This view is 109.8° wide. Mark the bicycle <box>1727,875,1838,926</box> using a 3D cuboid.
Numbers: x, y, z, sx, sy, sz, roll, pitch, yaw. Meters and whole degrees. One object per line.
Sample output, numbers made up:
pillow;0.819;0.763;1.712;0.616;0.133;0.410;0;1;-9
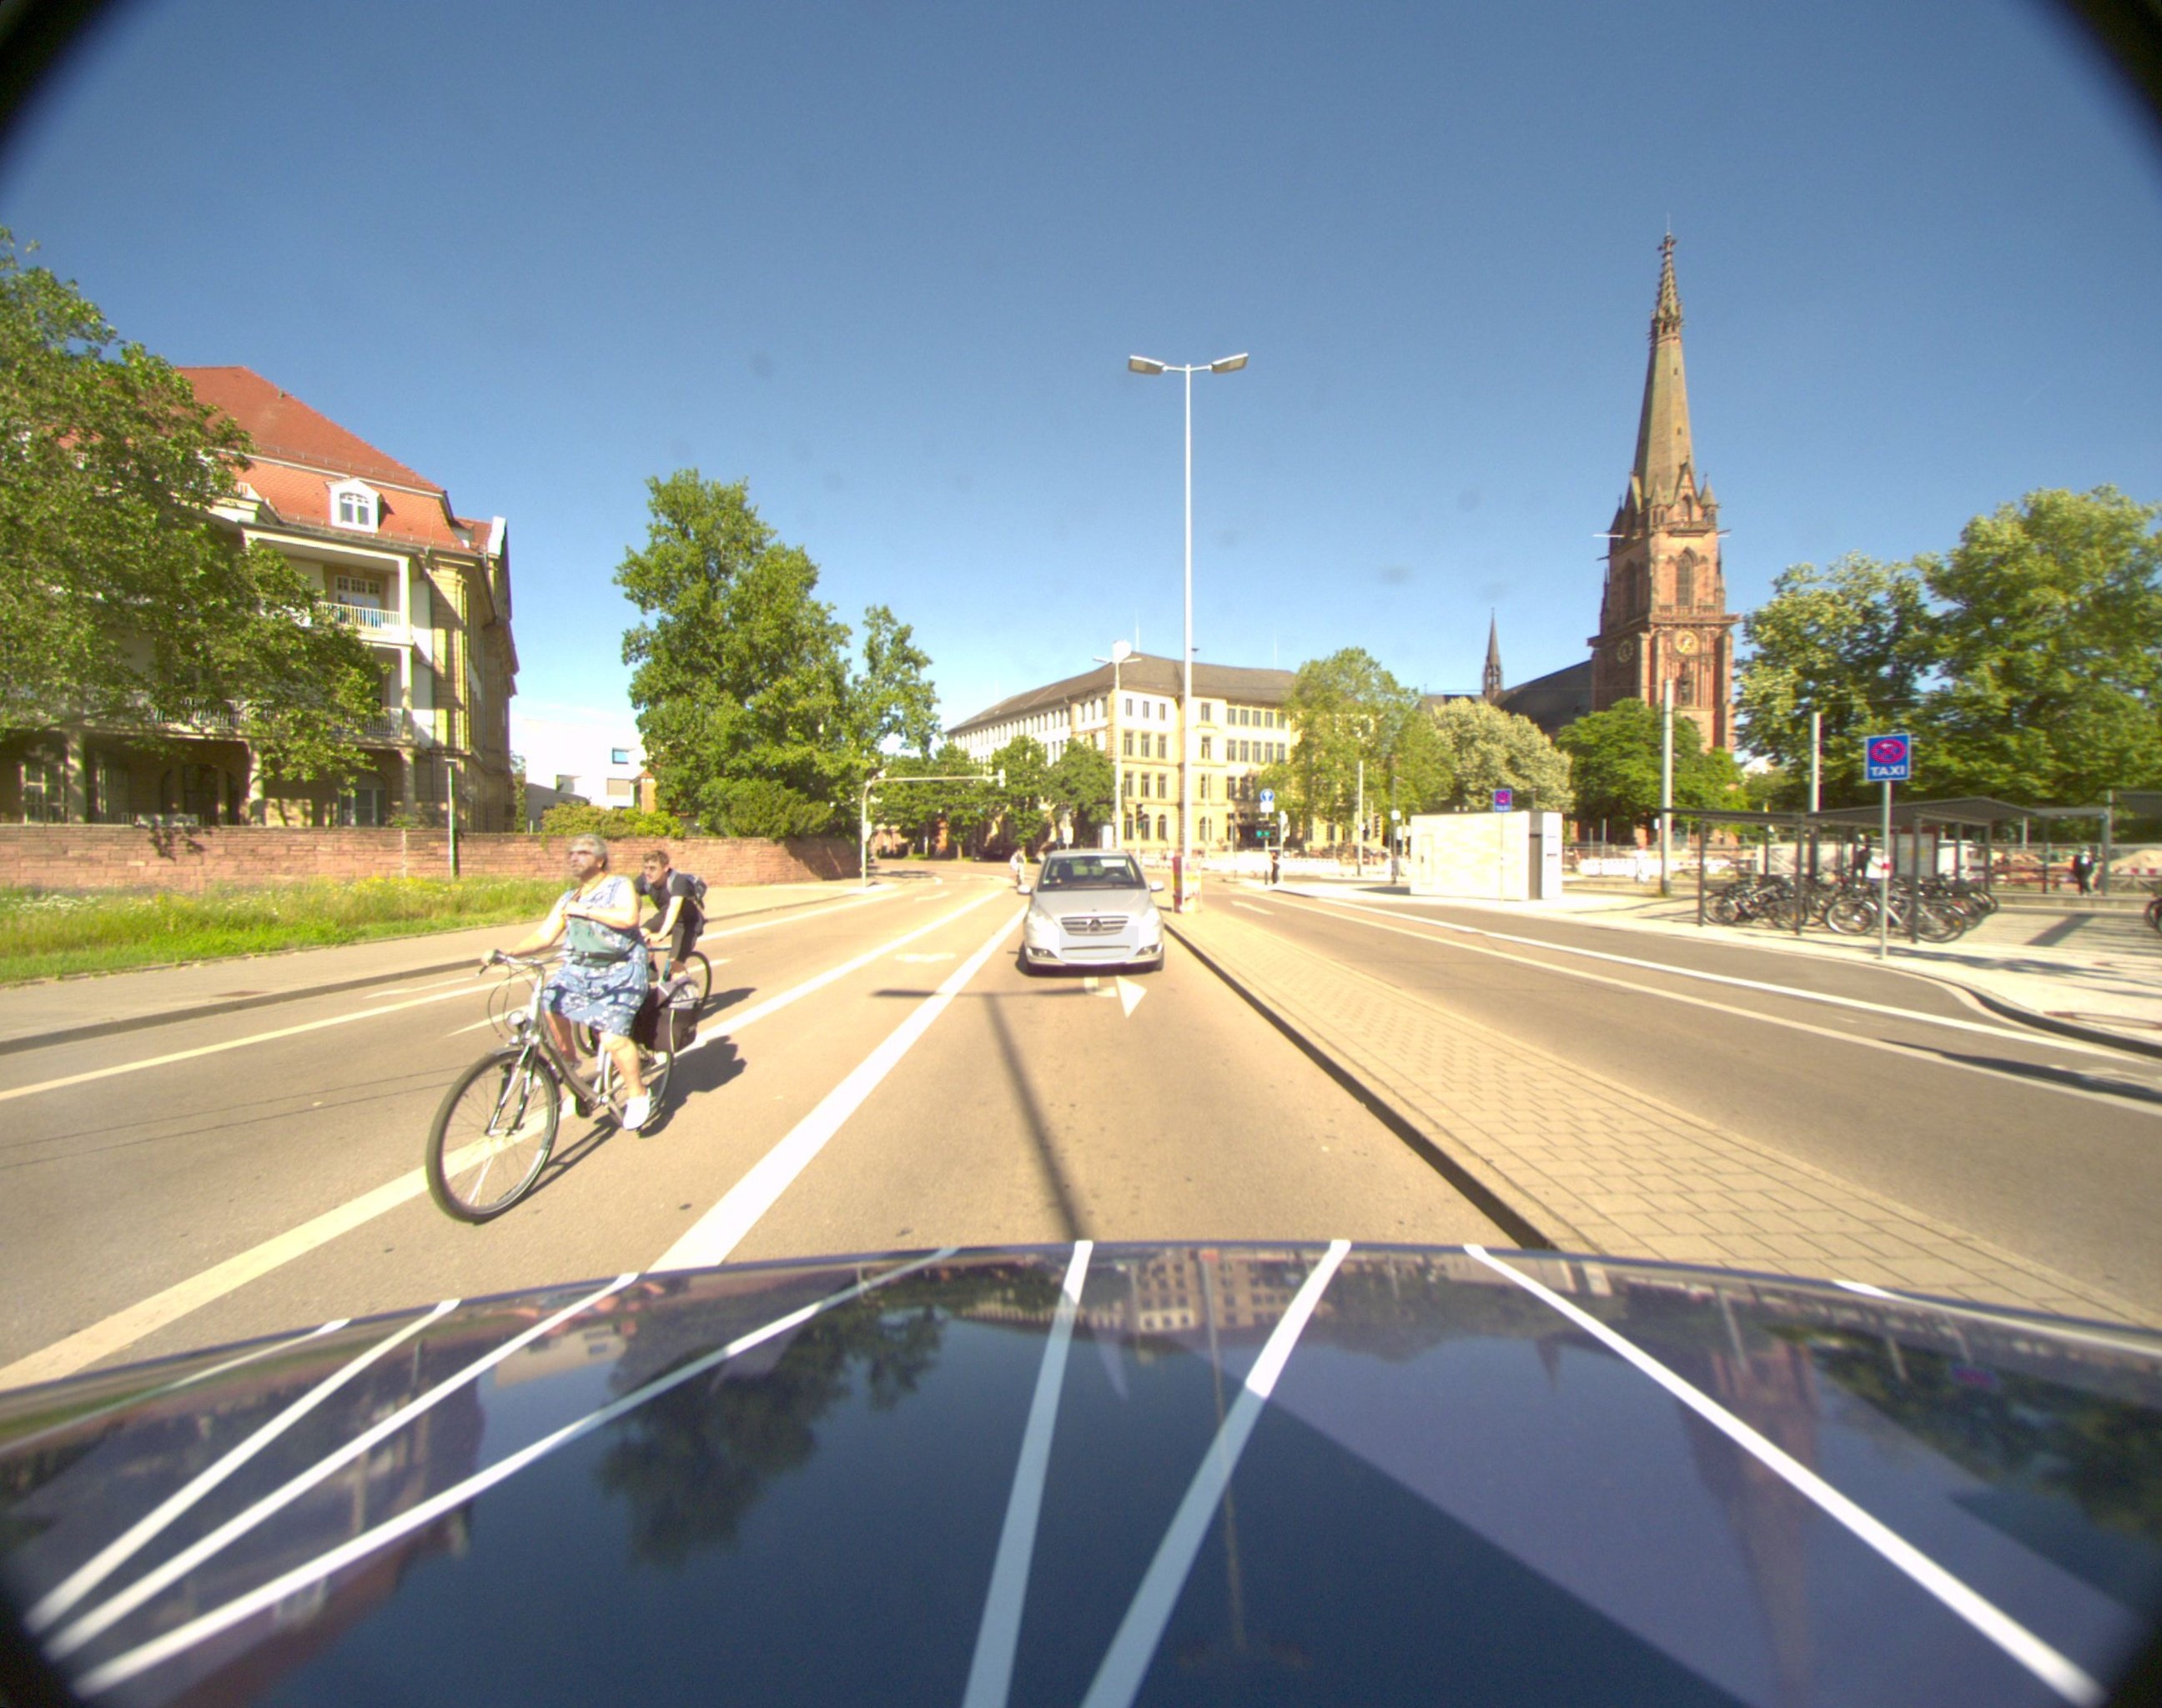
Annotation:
bicycle;16.099;1.045;17.478;0.569;1.032;1.783;0;1;-38

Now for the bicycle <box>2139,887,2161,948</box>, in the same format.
bicycle;19.293;1.127;12.724;0.569;1.032;1.783;0;1;-38

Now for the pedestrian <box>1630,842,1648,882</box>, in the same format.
pedestrian;24.746;0.369;33.704;0.537;1.712;0.683;-1;-4;30

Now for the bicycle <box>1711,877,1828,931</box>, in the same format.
bicycle;15.057;1.062;16.662;0.569;1.032;1.783;0;1;-38

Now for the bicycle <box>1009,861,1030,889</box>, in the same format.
bicycle;-2.717;0.934;33.786;0.778;1.158;1.967;-1;1;0

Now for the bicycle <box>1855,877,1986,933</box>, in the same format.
bicycle;17.669;1.050;16.039;0.569;1.032;1.783;0;1;-38

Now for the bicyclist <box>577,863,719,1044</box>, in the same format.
bicyclist;-3.708;0.806;6.591;0.643;1.436;0.953;-1;1;0

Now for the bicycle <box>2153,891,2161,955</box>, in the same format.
bicycle;18.331;1.154;11.861;0.569;1.032;1.783;0;1;-38

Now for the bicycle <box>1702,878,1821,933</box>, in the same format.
bicycle;14.458;1.070;16.198;0.569;1.032;1.783;0;1;-38

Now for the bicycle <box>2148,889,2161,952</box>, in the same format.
bicycle;18.835;1.146;12.288;0.569;1.032;1.783;0;1;-38

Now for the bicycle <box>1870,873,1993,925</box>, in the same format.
bicycle;19.153;0.996;17.142;0.569;1.032;1.783;0;1;-38

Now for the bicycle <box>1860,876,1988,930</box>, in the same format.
bicycle;18.148;1.024;16.406;0.569;1.032;1.783;0;1;-38

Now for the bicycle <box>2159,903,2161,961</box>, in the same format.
bicycle;17.885;1.195;11.481;0.569;1.032;1.783;0;1;-38

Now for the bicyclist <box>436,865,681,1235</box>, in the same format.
bicyclist;-2.568;0.899;3.833;0.643;1.653;0.776;-1;2;0

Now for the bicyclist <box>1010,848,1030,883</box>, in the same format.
bicyclist;-2.716;0.491;33.763;0.778;1.543;0.919;-1;1;0

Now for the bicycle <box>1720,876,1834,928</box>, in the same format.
bicycle;15.606;1.048;17.081;0.569;1.032;1.783;0;1;-38

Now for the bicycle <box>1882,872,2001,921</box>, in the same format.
bicycle;20.243;0.975;17.915;0.569;1.032;1.783;0;1;-38

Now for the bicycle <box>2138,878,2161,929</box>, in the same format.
bicycle;22.613;1.038;15.131;0.569;1.032;1.783;0;1;-38

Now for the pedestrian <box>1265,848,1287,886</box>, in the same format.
pedestrian;8.998;0.588;35.030;0.789;1.671;0.648;-2;1;2

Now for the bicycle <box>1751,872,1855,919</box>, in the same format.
bicycle;18.052;1.016;19.042;0.569;1.032;1.783;0;1;-38

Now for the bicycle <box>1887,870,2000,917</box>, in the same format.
bicycle;21.213;0.936;18.720;0.569;1.032;1.783;0;1;-38

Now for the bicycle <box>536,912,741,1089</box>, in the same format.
bicycle;-3.705;1.163;6.580;0.642;1.158;1.870;-1;0;0

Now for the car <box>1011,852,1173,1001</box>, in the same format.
car;0.152;0.801;10.727;1.771;1.584;4.638;-1;1;1

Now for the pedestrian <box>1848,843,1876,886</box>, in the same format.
pedestrian;30.677;0.415;29.841;0.567;1.645;0.518;-2;1;1

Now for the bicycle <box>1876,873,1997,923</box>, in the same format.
bicycle;19.693;0.989;17.531;0.569;1.032;1.783;0;1;-38

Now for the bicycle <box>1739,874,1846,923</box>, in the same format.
bicycle;17.062;1.043;18.255;0.569;1.032;1.783;0;1;-38

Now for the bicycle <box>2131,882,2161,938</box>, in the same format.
bicycle;21.262;1.100;14.249;0.569;1.032;1.783;0;1;-38

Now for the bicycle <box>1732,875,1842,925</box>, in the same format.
bicycle;16.574;1.053;17.875;0.569;1.032;1.783;0;1;-38

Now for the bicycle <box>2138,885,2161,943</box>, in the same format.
bicycle;20.336;1.124;13.492;0.569;1.032;1.783;0;1;-38

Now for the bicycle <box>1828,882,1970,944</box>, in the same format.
bicycle;15.657;1.097;14.588;0.569;1.032;1.783;0;1;-38

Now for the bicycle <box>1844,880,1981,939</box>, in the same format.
bicycle;16.698;1.078;15.301;0.569;1.032;1.783;0;1;-38

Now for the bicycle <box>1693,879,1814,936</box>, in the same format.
bicycle;13.937;1.081;15.802;0.569;1.032;1.783;0;1;-38

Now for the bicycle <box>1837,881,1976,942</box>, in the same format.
bicycle;16.191;1.089;14.953;0.569;1.032;1.783;0;1;-38

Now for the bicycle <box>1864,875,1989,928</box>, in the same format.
bicycle;18.654;1.020;16.800;0.569;1.032;1.783;0;1;-38

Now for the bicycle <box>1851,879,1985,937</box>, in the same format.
bicycle;17.188;1.073;15.654;0.569;1.032;1.783;0;1;-38

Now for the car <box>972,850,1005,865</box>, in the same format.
car;-11.731;0.466;96.430;1.994;1.805;3.809;1;1;43

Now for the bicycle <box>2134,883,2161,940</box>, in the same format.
bicycle;20.797;1.100;13.876;0.569;1.032;1.783;0;1;-38

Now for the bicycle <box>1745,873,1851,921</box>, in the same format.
bicycle;17.583;1.030;18.672;0.569;1.032;1.783;0;1;-38

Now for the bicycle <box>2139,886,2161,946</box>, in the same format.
bicycle;19.841;1.130;13.122;0.569;1.032;1.783;0;1;-38

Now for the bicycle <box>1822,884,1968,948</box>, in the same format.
bicycle;15.143;1.119;14.188;0.569;1.032;1.783;0;1;-38

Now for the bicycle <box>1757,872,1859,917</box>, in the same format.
bicycle;18.533;1.004;19.409;0.569;1.032;1.783;0;1;-38

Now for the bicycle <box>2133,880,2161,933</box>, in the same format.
bicycle;21.988;1.072;14.743;0.569;1.032;1.783;0;1;-38

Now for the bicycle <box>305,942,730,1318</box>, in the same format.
bicycle;-2.565;1.150;3.832;0.642;1.158;1.967;-1;1;0

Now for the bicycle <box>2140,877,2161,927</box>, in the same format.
bicycle;23.261;1.029;15.553;0.569;1.032;1.783;0;1;-38

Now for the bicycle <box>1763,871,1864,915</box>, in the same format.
bicycle;19.014;0.991;19.759;0.569;1.032;1.783;0;1;-38

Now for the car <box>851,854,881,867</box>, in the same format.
car;-25.948;0.758;91.546;2.003;1.464;4.286;-3;1;-37
